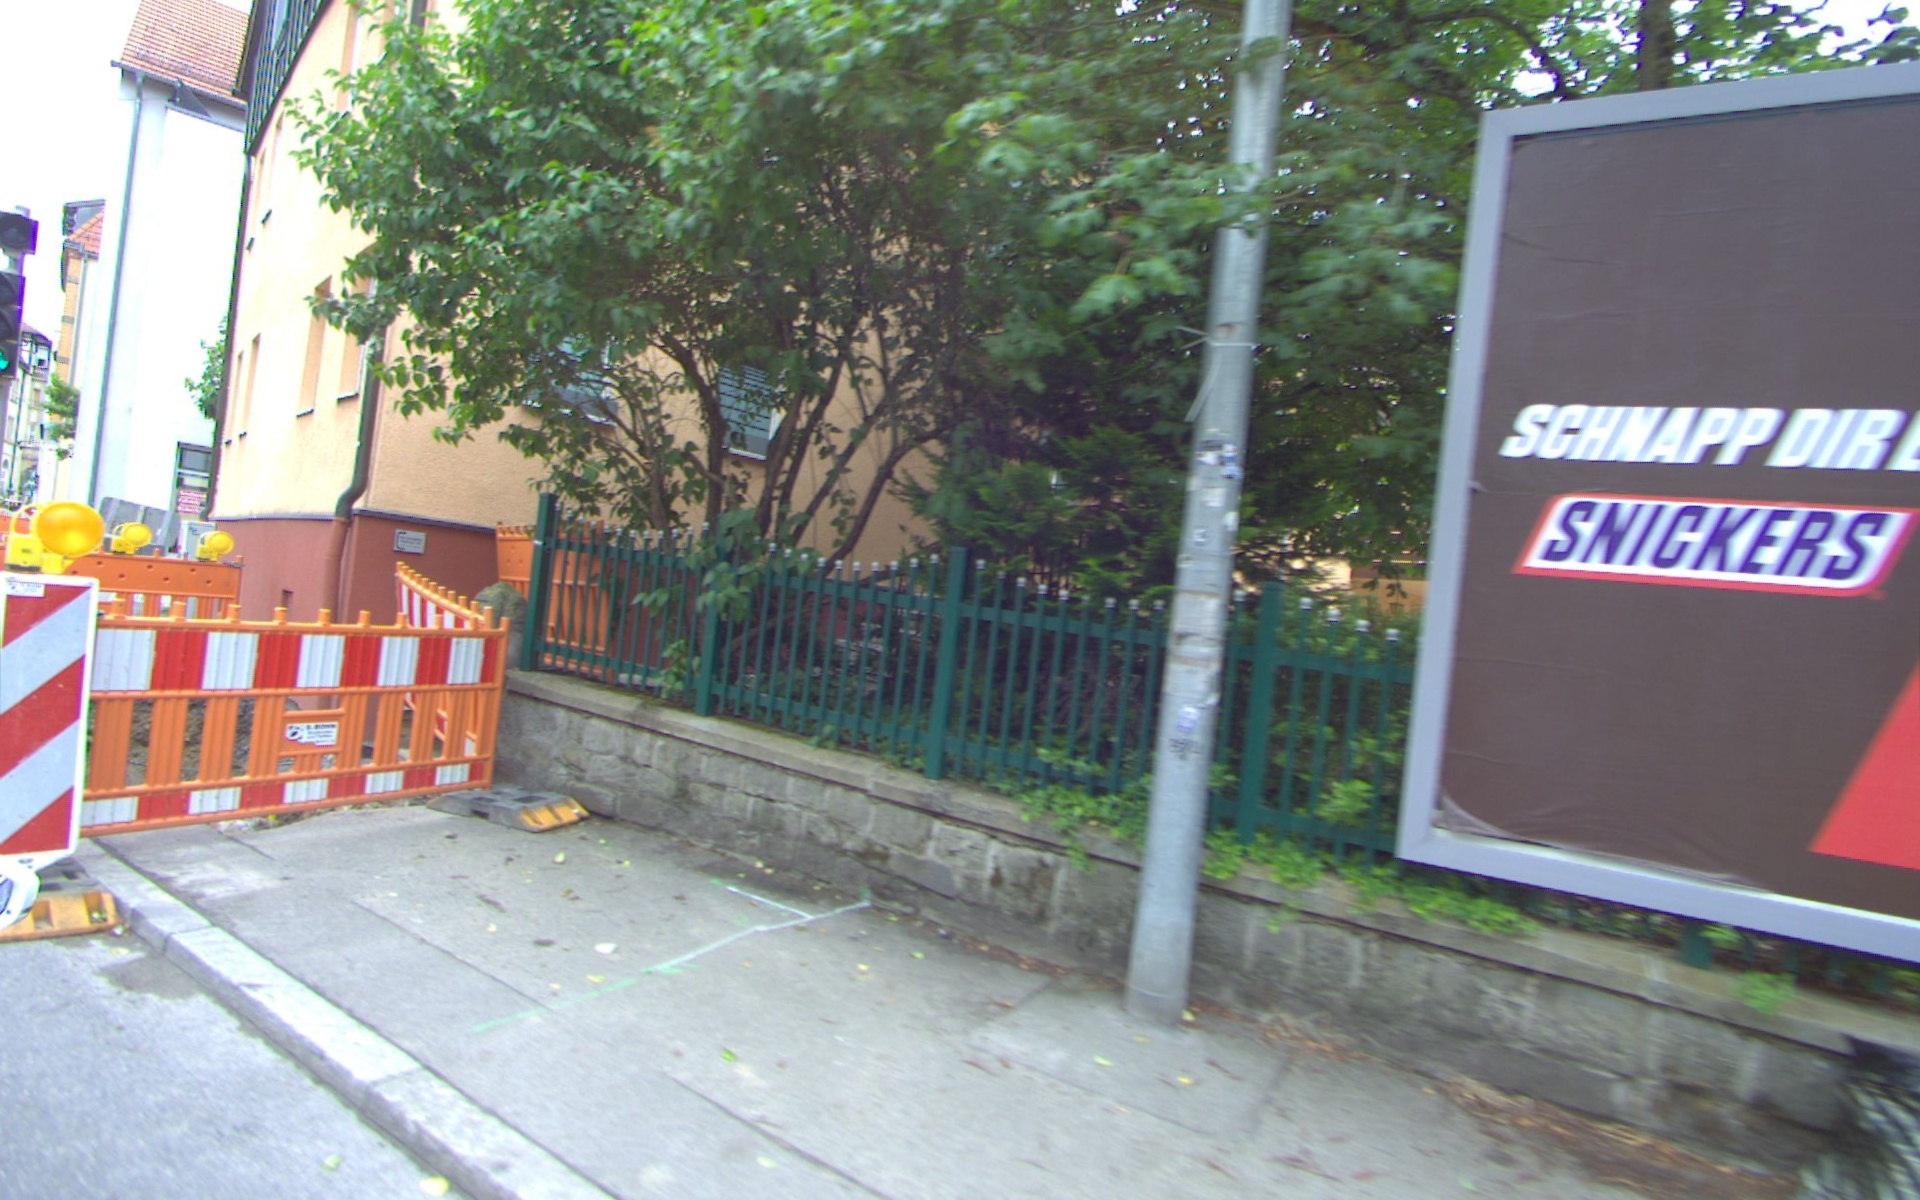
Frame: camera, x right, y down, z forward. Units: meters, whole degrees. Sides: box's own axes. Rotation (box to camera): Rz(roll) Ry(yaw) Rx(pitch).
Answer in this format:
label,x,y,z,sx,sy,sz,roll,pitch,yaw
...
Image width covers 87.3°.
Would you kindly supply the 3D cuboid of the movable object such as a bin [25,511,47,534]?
label,x,y,z,sx,sy,sz,roll,pitch,yaw
movable object such as a bin,-42.056,-3.513,45.769,0.616,0.932,0.575,7,0,-38
